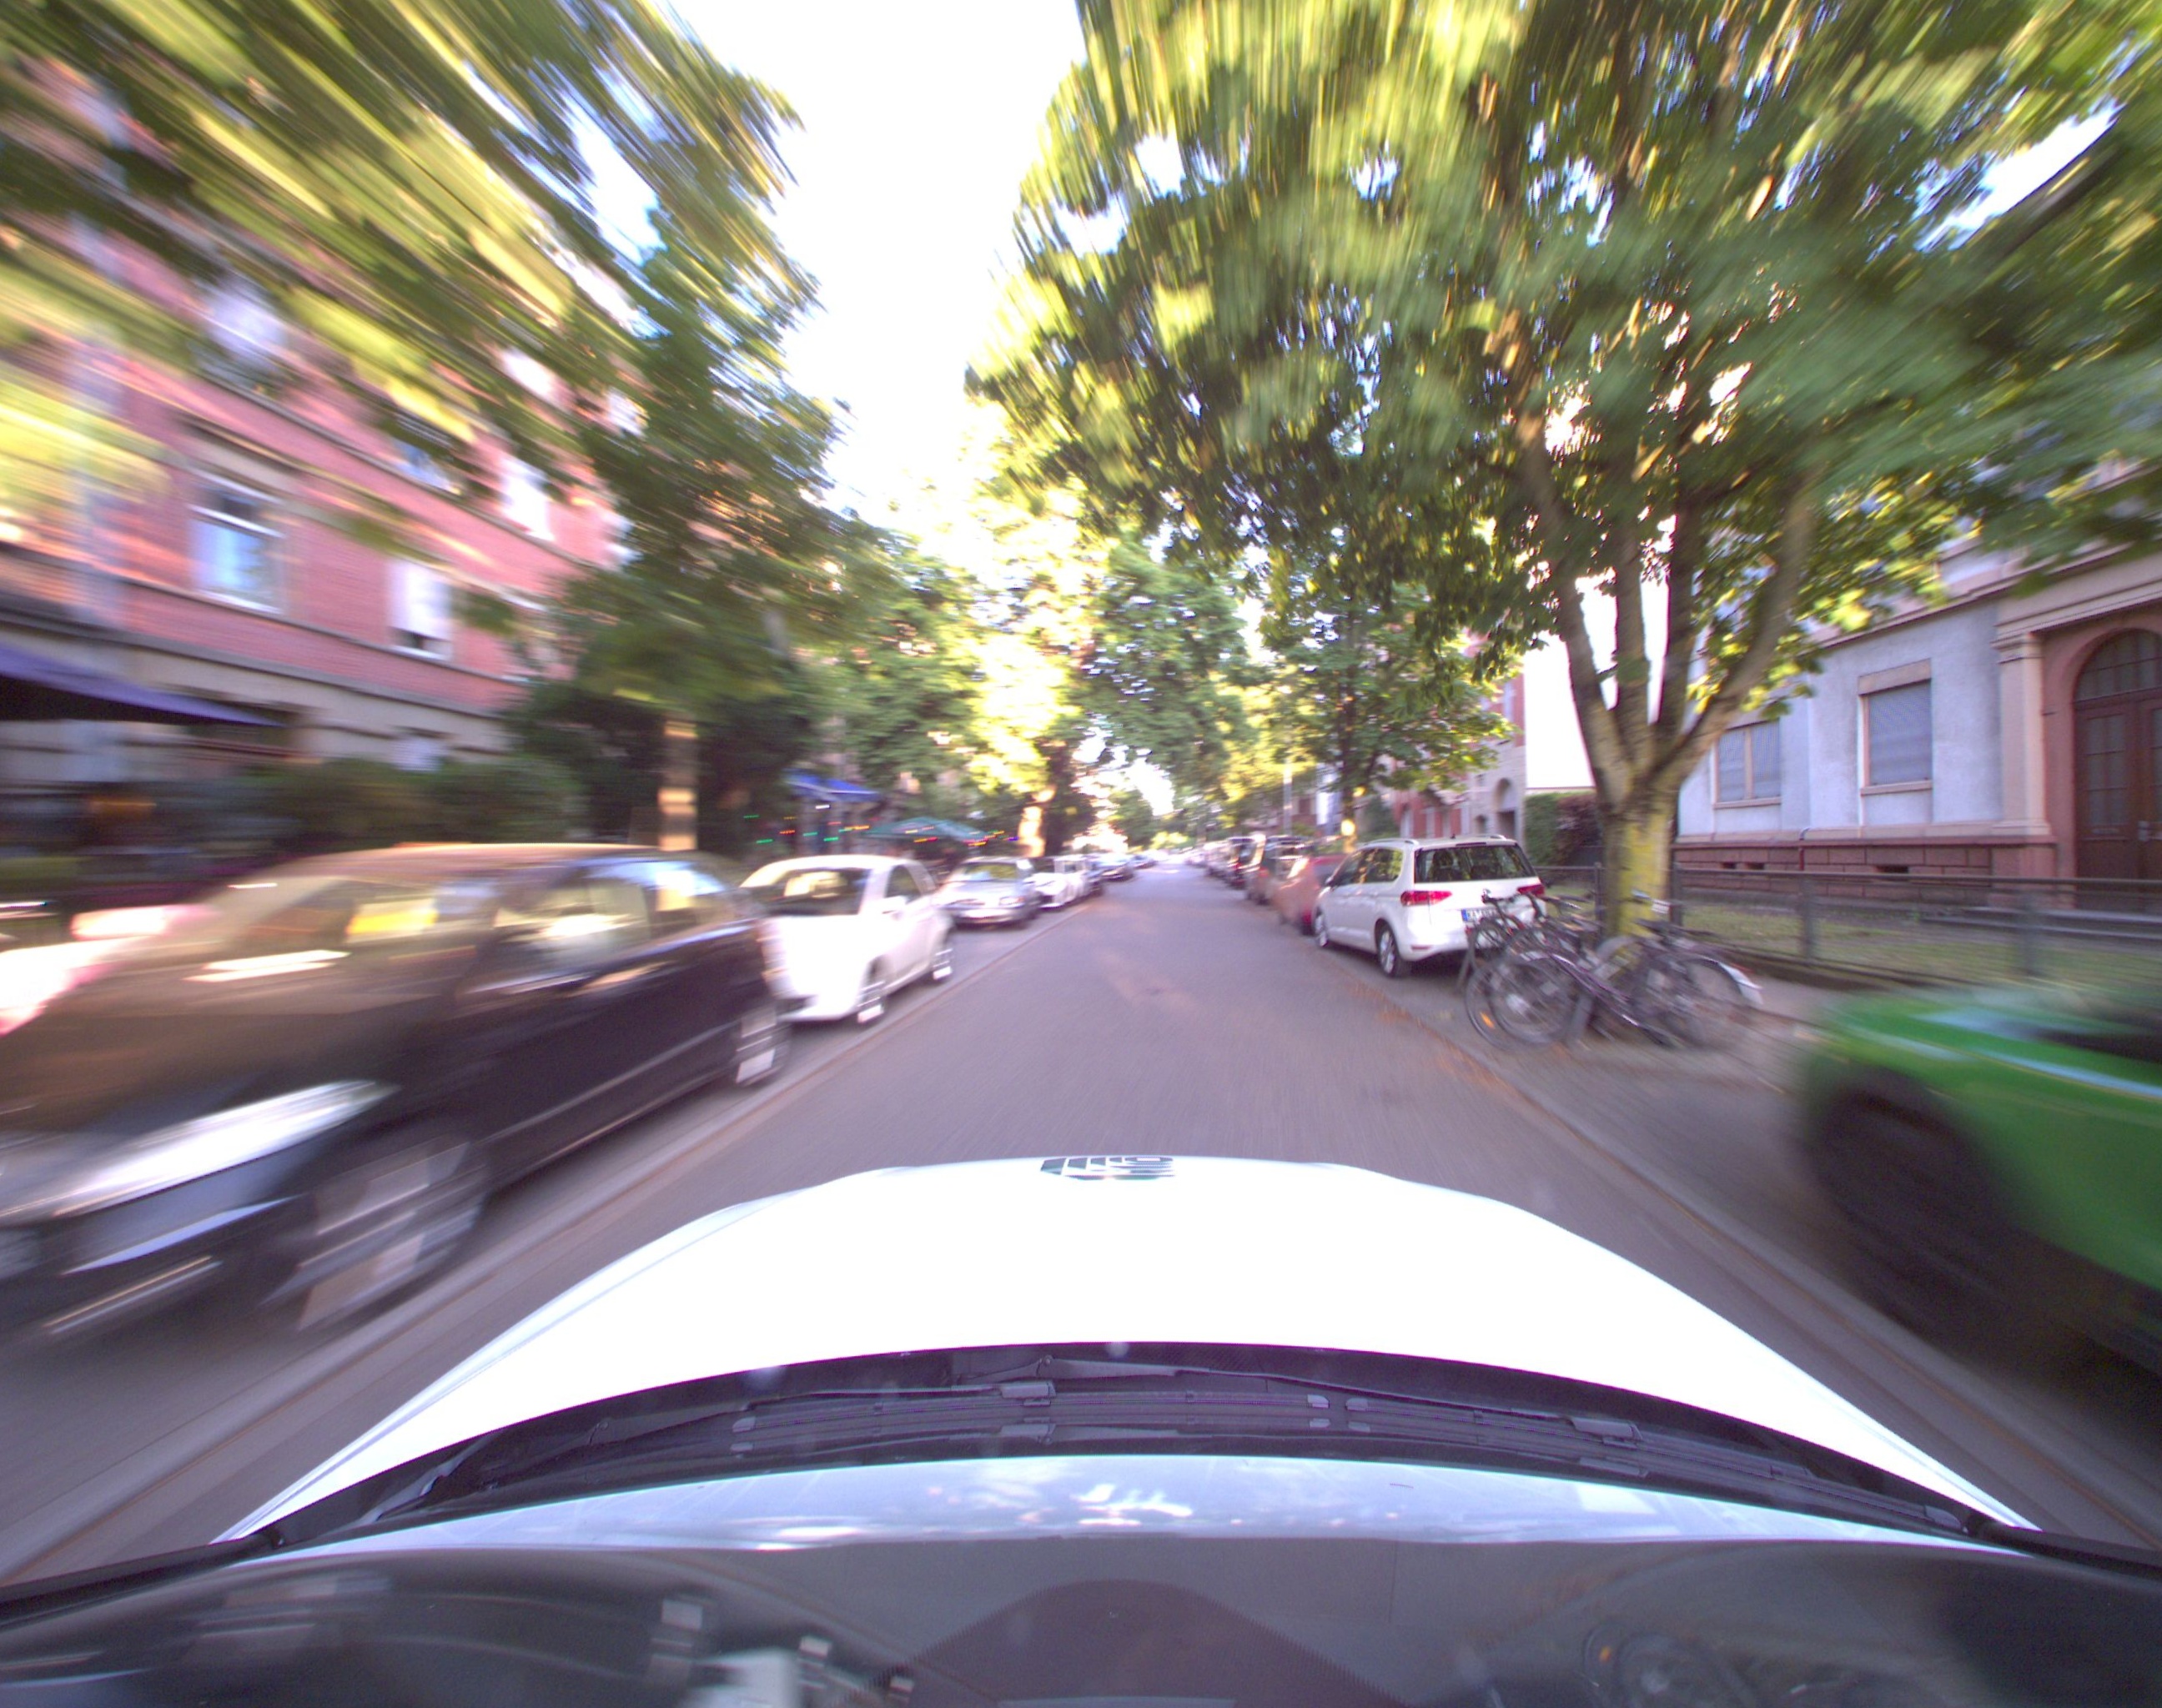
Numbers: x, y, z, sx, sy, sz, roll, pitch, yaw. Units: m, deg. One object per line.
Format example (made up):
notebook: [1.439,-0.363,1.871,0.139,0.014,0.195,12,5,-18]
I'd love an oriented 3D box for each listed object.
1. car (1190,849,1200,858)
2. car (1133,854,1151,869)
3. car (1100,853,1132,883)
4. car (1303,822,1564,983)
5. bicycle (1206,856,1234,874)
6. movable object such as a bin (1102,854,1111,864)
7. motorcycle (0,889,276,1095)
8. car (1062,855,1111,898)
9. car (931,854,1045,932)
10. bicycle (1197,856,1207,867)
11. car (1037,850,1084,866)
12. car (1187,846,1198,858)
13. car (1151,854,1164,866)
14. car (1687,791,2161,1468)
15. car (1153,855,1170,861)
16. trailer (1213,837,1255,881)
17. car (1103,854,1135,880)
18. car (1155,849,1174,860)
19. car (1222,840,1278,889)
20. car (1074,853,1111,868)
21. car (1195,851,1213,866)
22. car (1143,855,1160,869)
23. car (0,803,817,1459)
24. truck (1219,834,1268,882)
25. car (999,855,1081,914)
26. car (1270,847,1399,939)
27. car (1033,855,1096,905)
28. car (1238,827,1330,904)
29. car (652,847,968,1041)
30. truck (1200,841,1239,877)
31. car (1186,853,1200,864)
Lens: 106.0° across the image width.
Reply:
car: [19.057,-0.032,136.215,1.532,1.521,3.435,0,0,4]
car: [6.475,0.760,86.291,1.607,1.470,3.971,0,0,9]
car: [1.998,0.774,46.534,1.683,1.563,4.406,2,1,3]
car: [4.437,0.520,11.006,1.659,1.678,4.119,-3,0,0]
bicycle: [10.228,0.811,59.990,1.896,1.258,0.407,-3,-1,1]
movable object such as a bin: [3.398,0.618,109.848,1.006,1.321,1.008,2,1,11]
motorcycle: [-6.626,0.866,5.328,0.388,1.185,1.965,1,0,16]
car: [0.266,0.827,31.502,1.544,1.485,3.699,-1,0,5]
car: [-1.848,0.726,17.629,1.833,1.411,4.602,1,1,1]
bicycle: [13.023,0.849,87.753,0.439,1.173,1.646,0,0,31]
car: [-1.913,0.378,77.204,4.062,1.447,1.716,0,1,15]
car: [19.166,-0.314,140.226,1.672,1.941,3.885,0,0,4]
car: [10.825,0.837,115.260,1.707,1.566,3.795,0,0,7]
car: [3.270,0.597,1.396,1.723,1.557,3.968,-3,0,5]
car: [17.877,0.858,180.581,3.604,1.461,1.608,0,0,2]
trailer: [8.849,0.271,47.390,1.944,2.295,4.653,-3,0,6]
car: [2.473,0.808,51.824,1.681,1.502,4.410,1,0,7]
car: [18.735,0.128,183.411,4.329,2.318,1.748,0,0,5]
car: [7.331,0.408,35.716,1.830,1.942,4.621,-3,0,5]
car: [1.353,0.714,94.177,4.073,1.527,1.712,3,0,5]
car: [14.596,0.486,96.886,1.790,1.711,4.606,-1,-1,4]
car: [8.839,1.002,102.066,1.911,1.717,4.436,0,0,7]
car: [-2.969,0.678,4.084,1.656,1.677,3.853,2,1,6]
truck: [8.330,0.186,42.000,1.944,2.246,4.652,-3,0,6]
car: [-1.051,0.784,22.855,1.595,1.435,3.893,2,1,7]
car: [4.767,0.659,15.817,1.656,1.500,3.700,-3,0,6]
car: [-0.490,0.811,27.494,1.543,1.485,3.701,2,1,7]
car: [6.102,0.297,25.045,1.944,2.058,4.838,-3,0,6]
car: [-2.456,0.705,8.413,1.656,1.493,3.716,2,1,6]
truck: [9.164,0.354,54.557,1.968,2.244,6.785,-1,-1,5]
car: [16.504,0.704,120.177,1.679,1.606,3.944,0,0,4]
